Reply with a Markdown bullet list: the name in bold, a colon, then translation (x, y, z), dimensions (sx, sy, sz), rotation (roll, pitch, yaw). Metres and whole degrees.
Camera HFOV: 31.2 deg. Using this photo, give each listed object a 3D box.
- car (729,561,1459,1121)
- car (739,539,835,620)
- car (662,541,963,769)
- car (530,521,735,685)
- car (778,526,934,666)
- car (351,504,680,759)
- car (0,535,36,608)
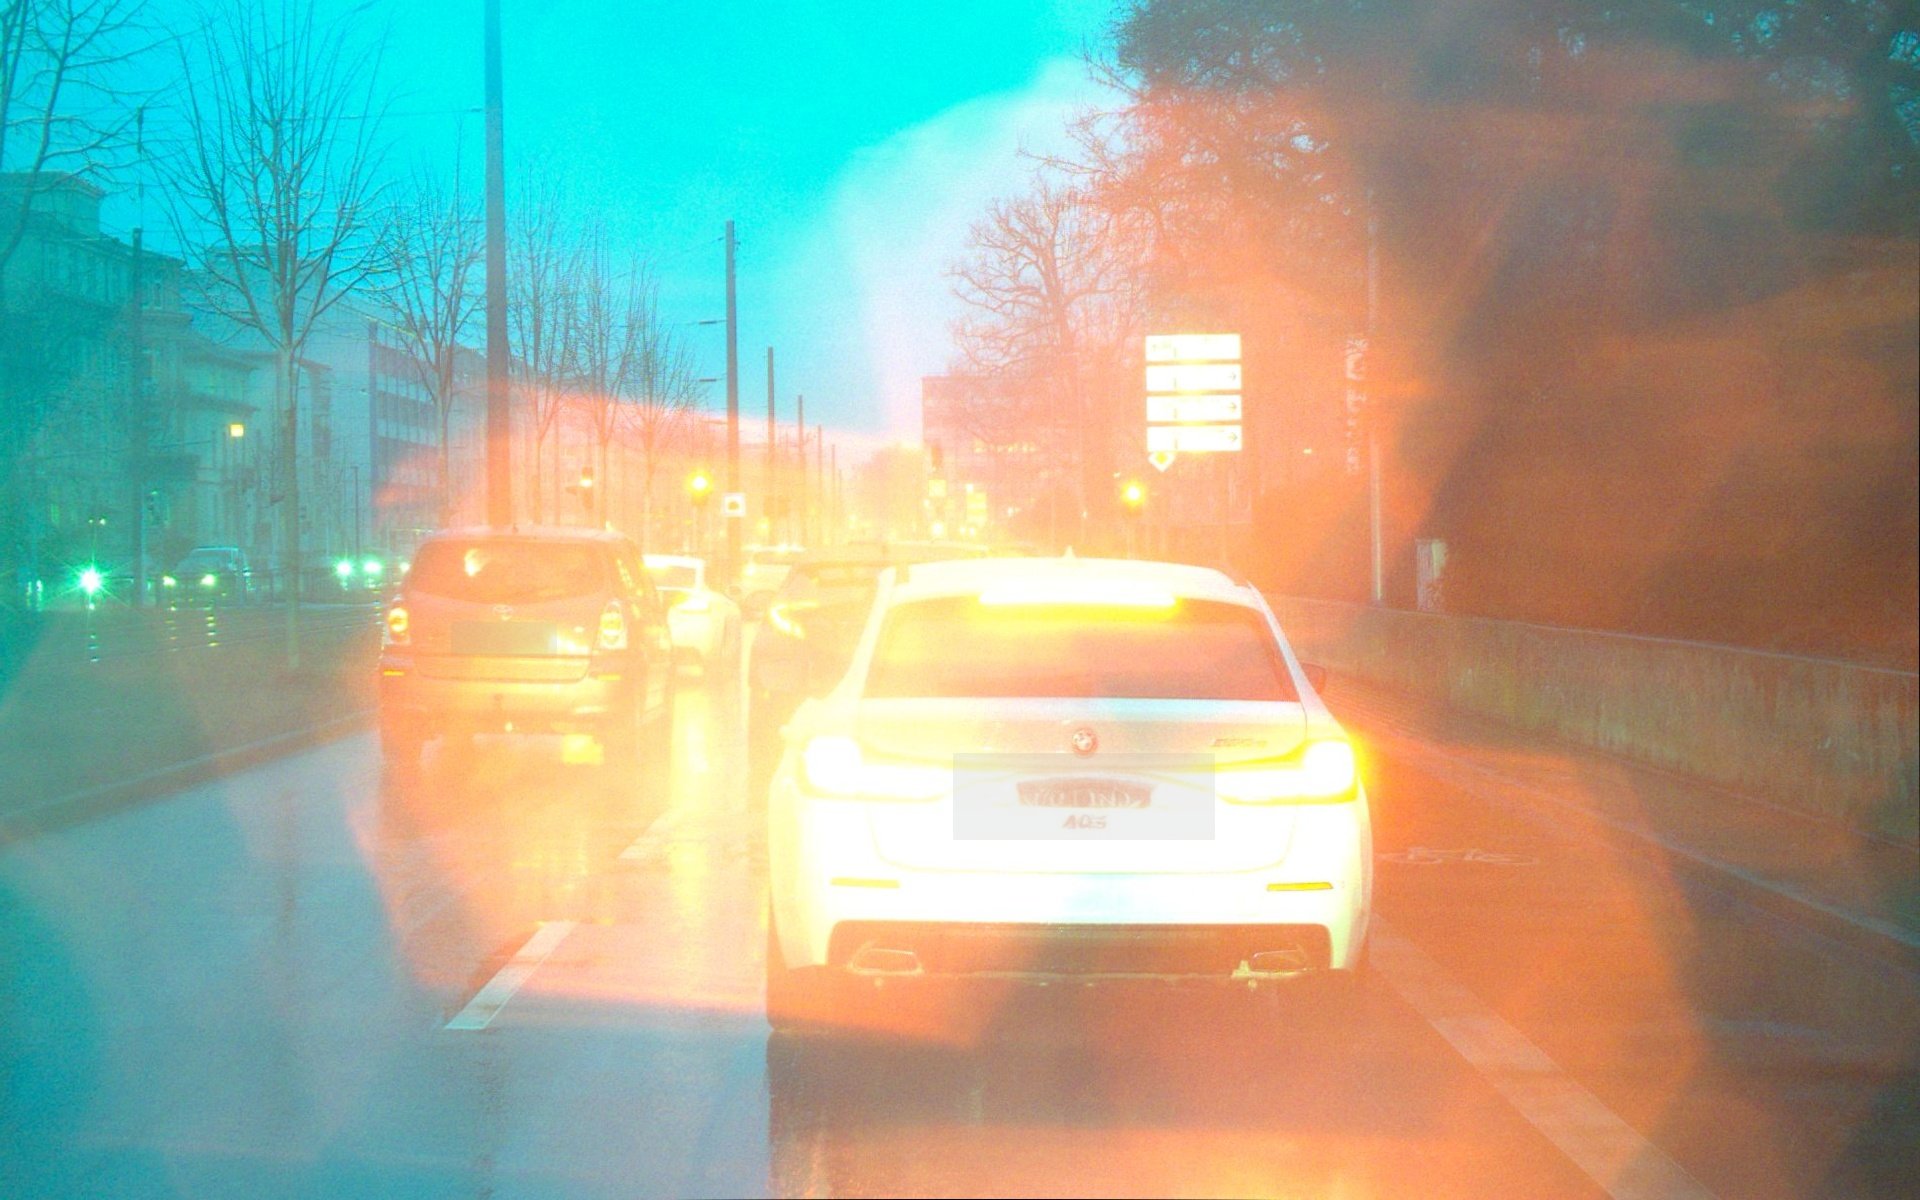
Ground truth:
- **car**: translation (0.360, 0.641, 11.548), dimensions (1.999, 1.503, 4.163), rotation (0, 1, 0)
- **car**: translation (-3.599, -0.457, 72.166), dimensions (1.806, 1.640, 4.000), rotation (1, 1, 0)
- **car**: translation (-0.960, 0.320, 24.230), dimensions (1.936, 1.452, 4.163), rotation (0, 1, 0)
- **car**: translation (-3.674, 0.011, 39.231), dimensions (1.993, 1.749, 4.000), rotation (1, 1, -1)
- **car**: translation (-1.241, -0.085, 42.624), dimensions (1.806, 1.640, 4.000), rotation (1, 1, 0)
- **car**: translation (-3.052, 0.168, 24.342), dimensions (1.806, 1.640, 4.000), rotation (1, 1, 0)
- **car**: translation (-23.592, -0.682, 82.192), dimensions (1.895, 1.713, 5.119), rotation (-1, 1, -4)
